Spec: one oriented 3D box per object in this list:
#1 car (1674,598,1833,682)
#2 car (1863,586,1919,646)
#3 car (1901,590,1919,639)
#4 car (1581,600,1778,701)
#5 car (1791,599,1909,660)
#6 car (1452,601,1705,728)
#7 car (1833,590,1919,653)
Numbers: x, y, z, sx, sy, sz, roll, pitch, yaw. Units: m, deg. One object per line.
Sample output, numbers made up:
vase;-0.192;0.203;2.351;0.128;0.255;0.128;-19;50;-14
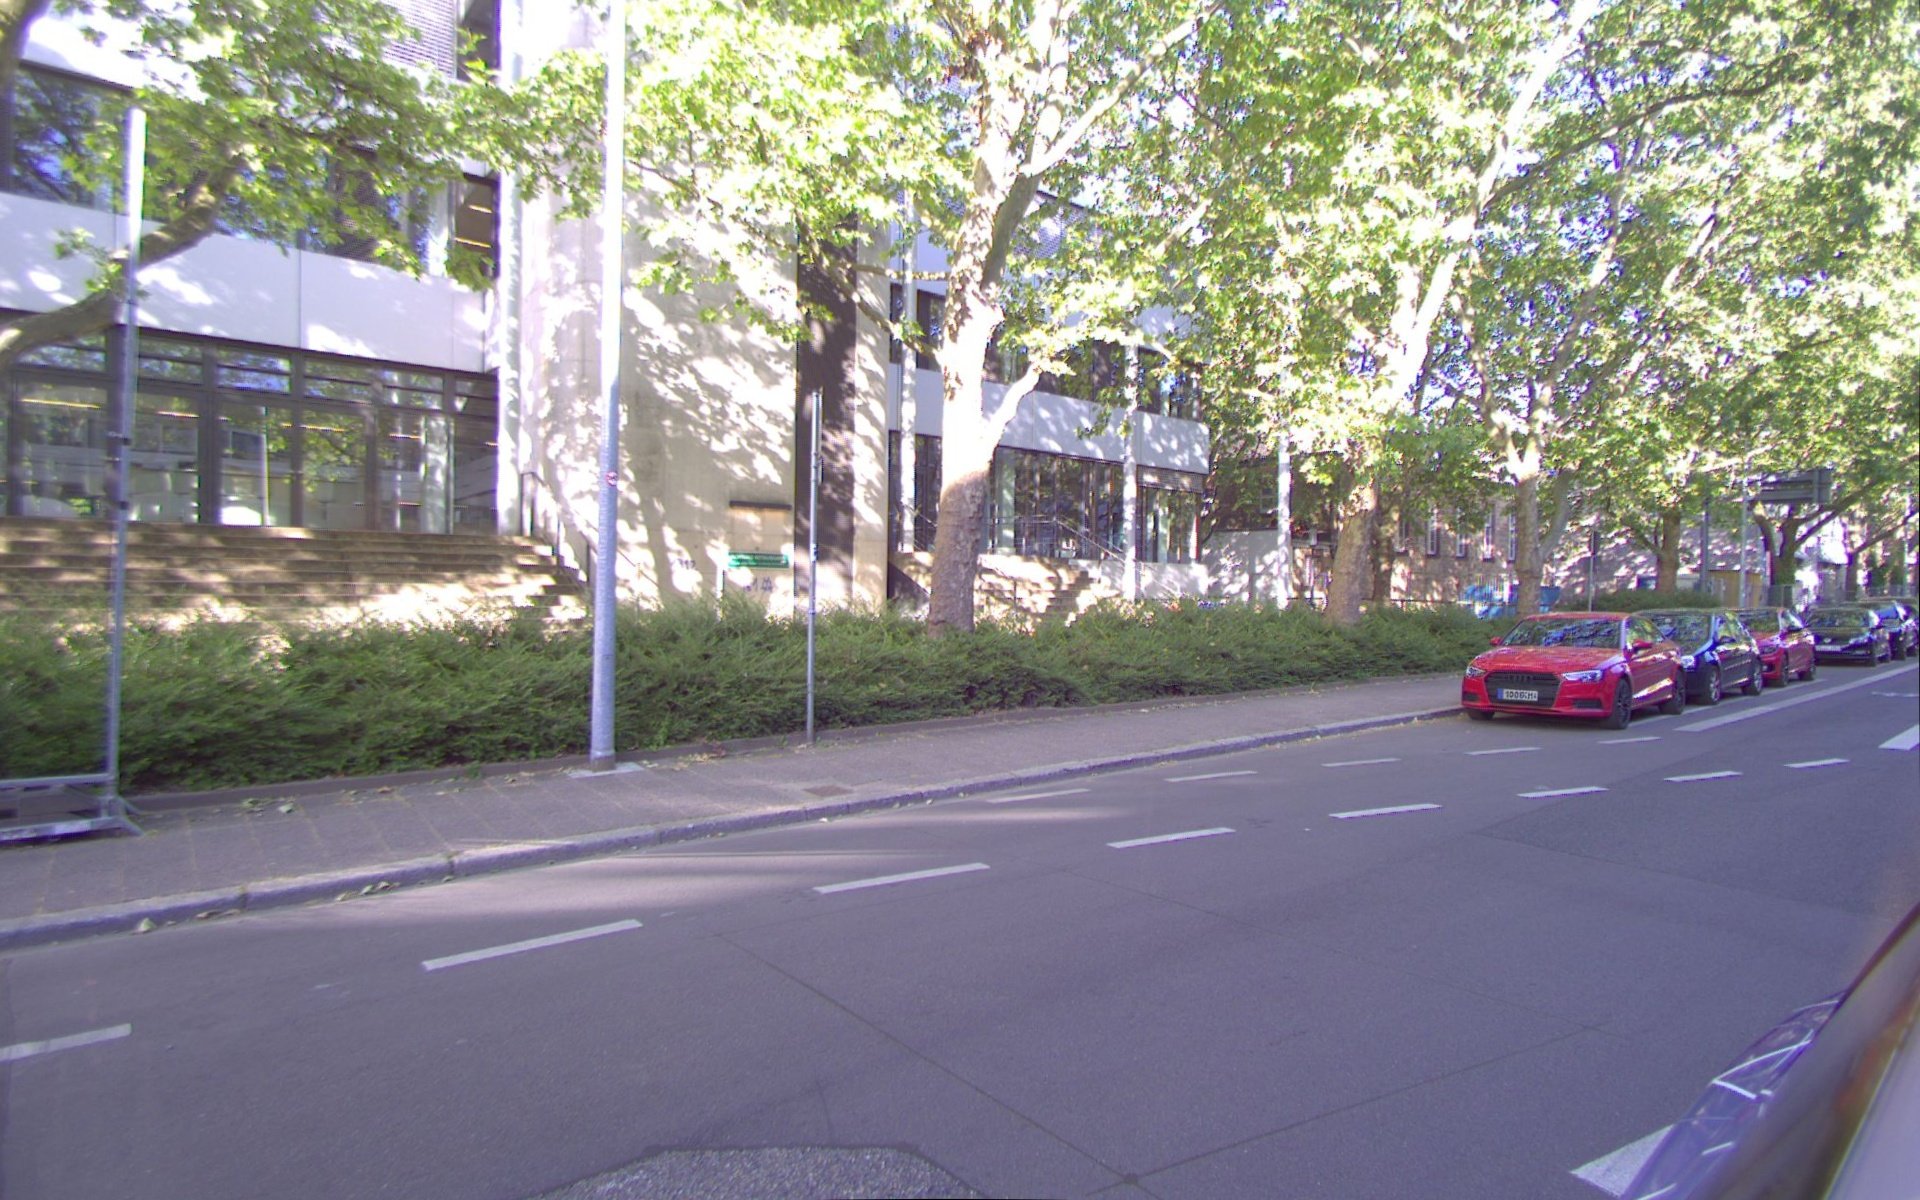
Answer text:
car;15.706;0.725;19.969;3.841;1.486;1.753;0;-1;-41
car;30.975;0.491;32.971;4.370;1.844;1.753;0;-1;-41
car;36.198;0.521;37.267;4.370;1.750;1.753;0;-1;-41
car;11.855;0.743;16.592;3.841;1.451;1.753;0;-1;-41
car;22.951;0.721;26.067;3.841;1.451;1.753;0;-1;-41
car;8.288;0.744;13.437;3.930;1.427;1.753;0;-1;-41
car;26.718;0.590;29.180;4.101;1.674;1.753;0;-1;-41
